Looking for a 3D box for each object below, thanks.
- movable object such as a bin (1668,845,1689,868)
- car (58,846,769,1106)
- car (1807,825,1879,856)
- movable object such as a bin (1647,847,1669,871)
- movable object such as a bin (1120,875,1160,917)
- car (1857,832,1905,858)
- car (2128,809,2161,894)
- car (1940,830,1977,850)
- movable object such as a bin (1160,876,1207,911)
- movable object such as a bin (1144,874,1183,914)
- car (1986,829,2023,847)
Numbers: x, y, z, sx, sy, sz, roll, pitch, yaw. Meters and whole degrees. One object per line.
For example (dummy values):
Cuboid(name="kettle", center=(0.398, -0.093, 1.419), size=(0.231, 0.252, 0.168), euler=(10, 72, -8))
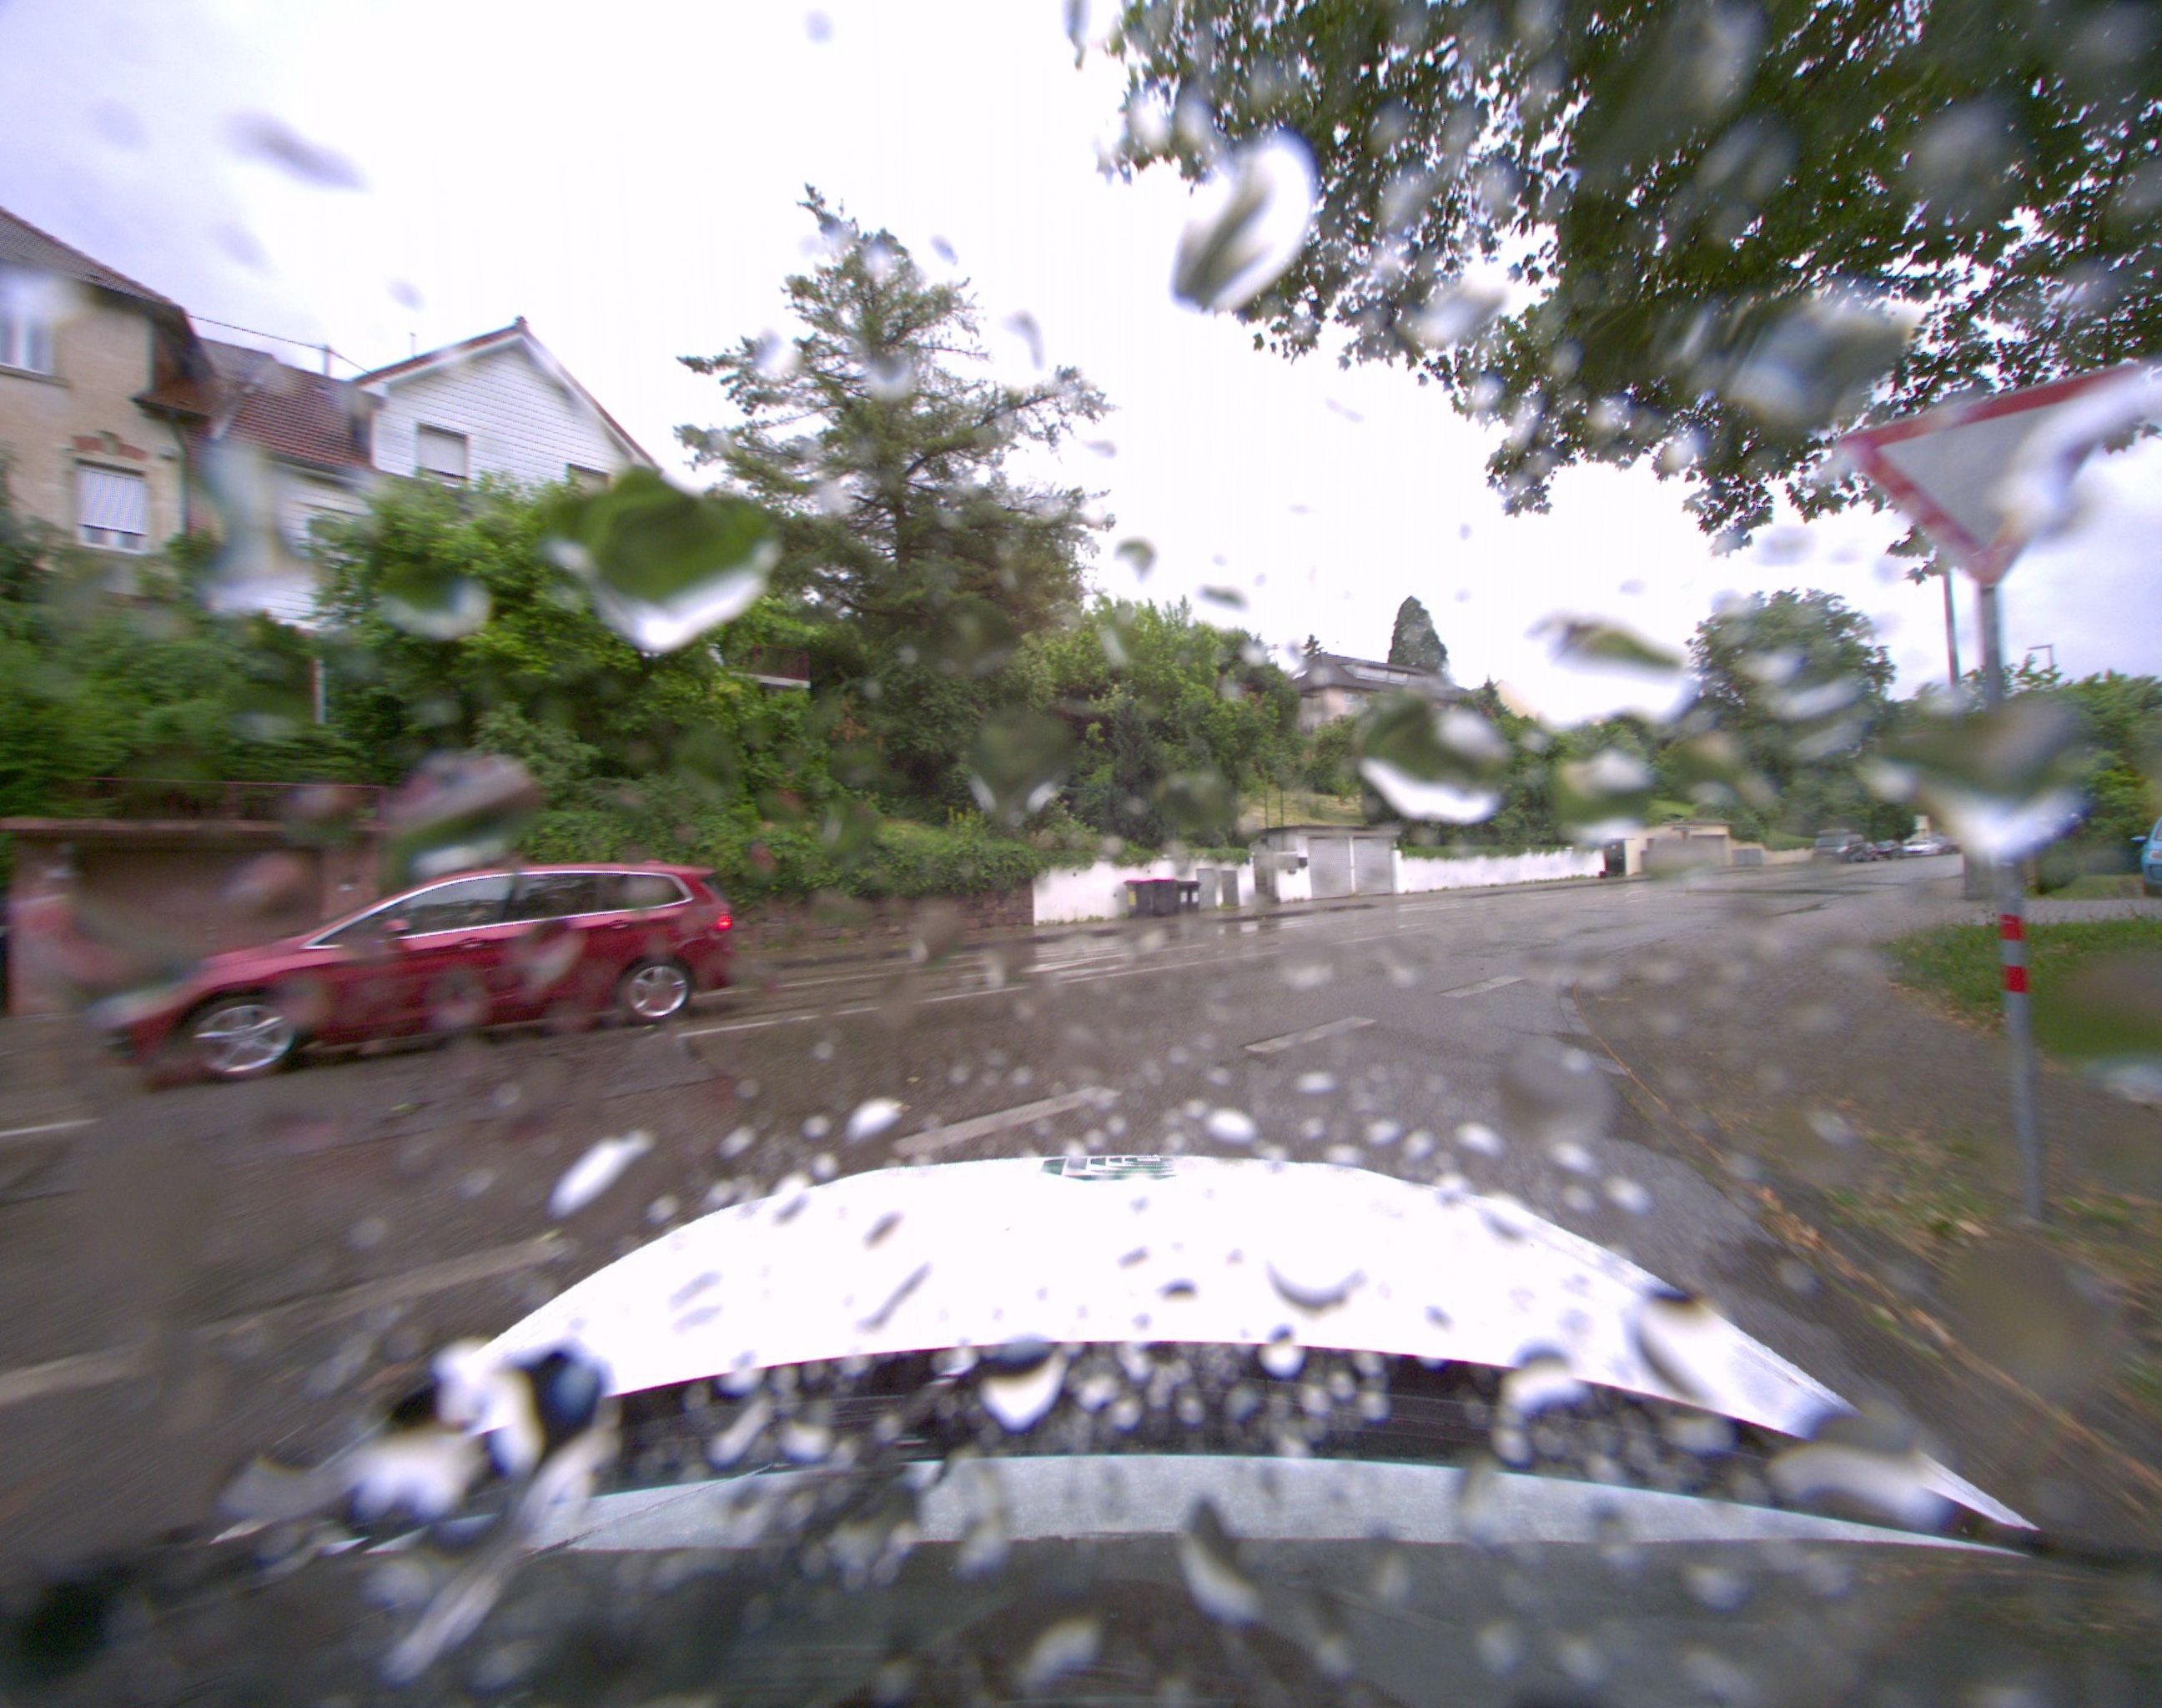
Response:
Cuboid(name="movable object such as a bin", center=(36.668, 0.142, 49.970), size=(0.836, 1.336, 0.706), euler=(-3, -1, -30))
Cuboid(name="car", center=(-5.572, 0.845, 7.586), size=(4.606, 1.601, 1.754), euler=(-3, -1, -38))
Cuboid(name="car", center=(51.507, -0.928, 55.030), size=(5.200, 1.753, 2.279), euler=(-3, -1, -33))
Cuboid(name="movable object such as a bin", center=(34.665, 0.293, 48.915), size=(0.836, 1.336, 0.706), euler=(-3, -1, -30))
Cuboid(name="movable object such as a bin", center=(1.586, 1.124, 21.947), size=(0.757, 1.060, 0.681), euler=(-2, -2, -39))
Cuboid(name="car", center=(59.867, -0.679, 60.946), size=(4.018, 1.682, 1.804), euler=(-3, -1, -36))
Cuboid(name="car", center=(20.508, -0.133, 14.771), size=(3.564, 1.447, 1.633), euler=(-3, -1, -35))
Cuboid(name="car", center=(78.036, -1.255, 72.396), size=(3.833, 1.551, 1.718), euler=(-3, -1, -36))
Cuboid(name="movable object such as a bin", center=(2.919, 1.136, 23.172), size=(0.959, 0.916, 0.842), euler=(-2, -2, -40))
Cuboid(name="movable object such as a bin", center=(2.265, 1.097, 22.387), size=(0.798, 1.060, 0.629), euler=(-2, -2, -39))
Cuboid(name="car", center=(93.199, -1.613, 82.153), size=(3.829, 1.551, 1.702), euler=(-3, -1, -31))
